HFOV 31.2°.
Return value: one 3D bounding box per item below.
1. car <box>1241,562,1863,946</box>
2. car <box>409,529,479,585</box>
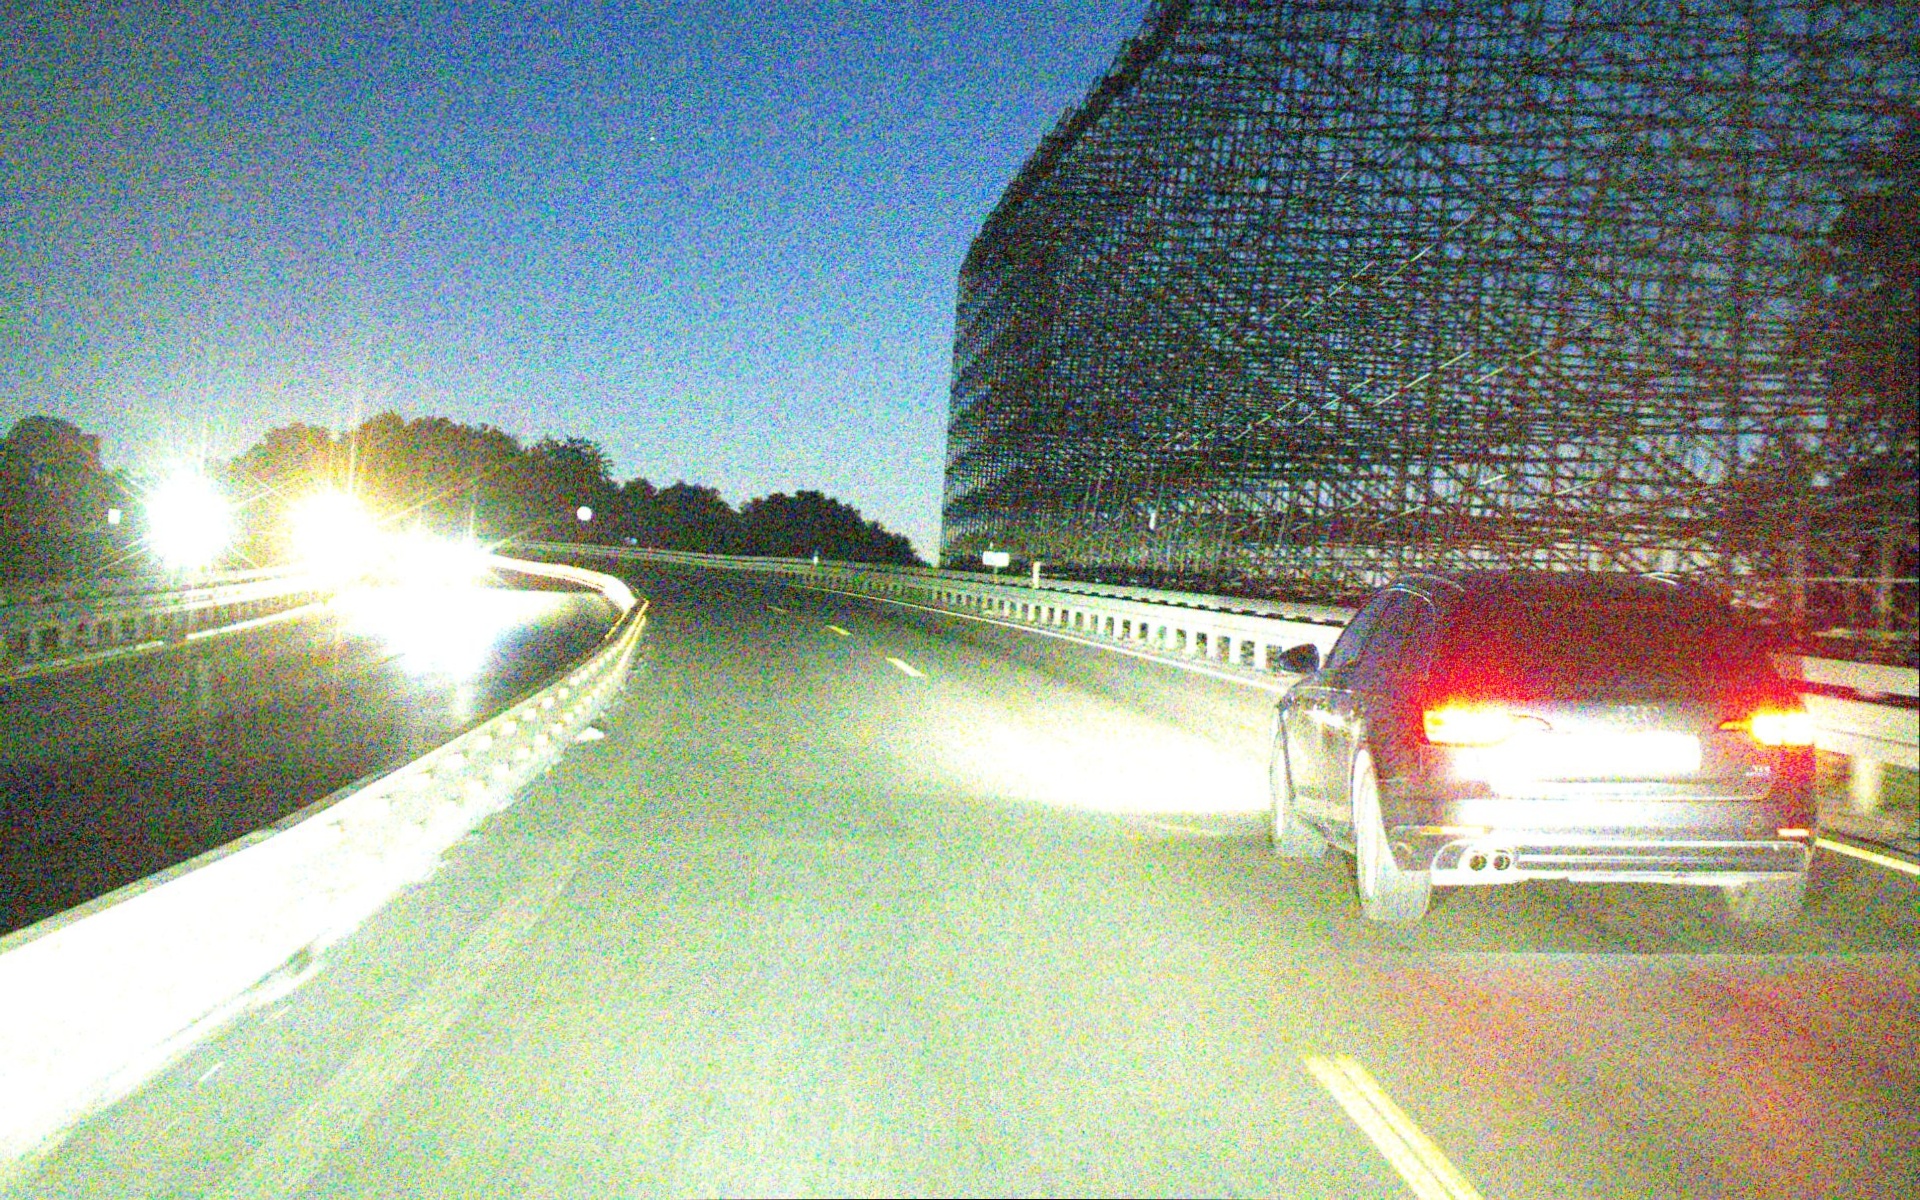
[{"bbox_3d":[2.441,0.558,15.443,1.808,1.422,4.875,0,1,-2],"label":"car"},{"bbox_3d":[-15.438,-1.263,102.693,2.012,1.634,4.864,0,0,-9],"label":"car"}]
